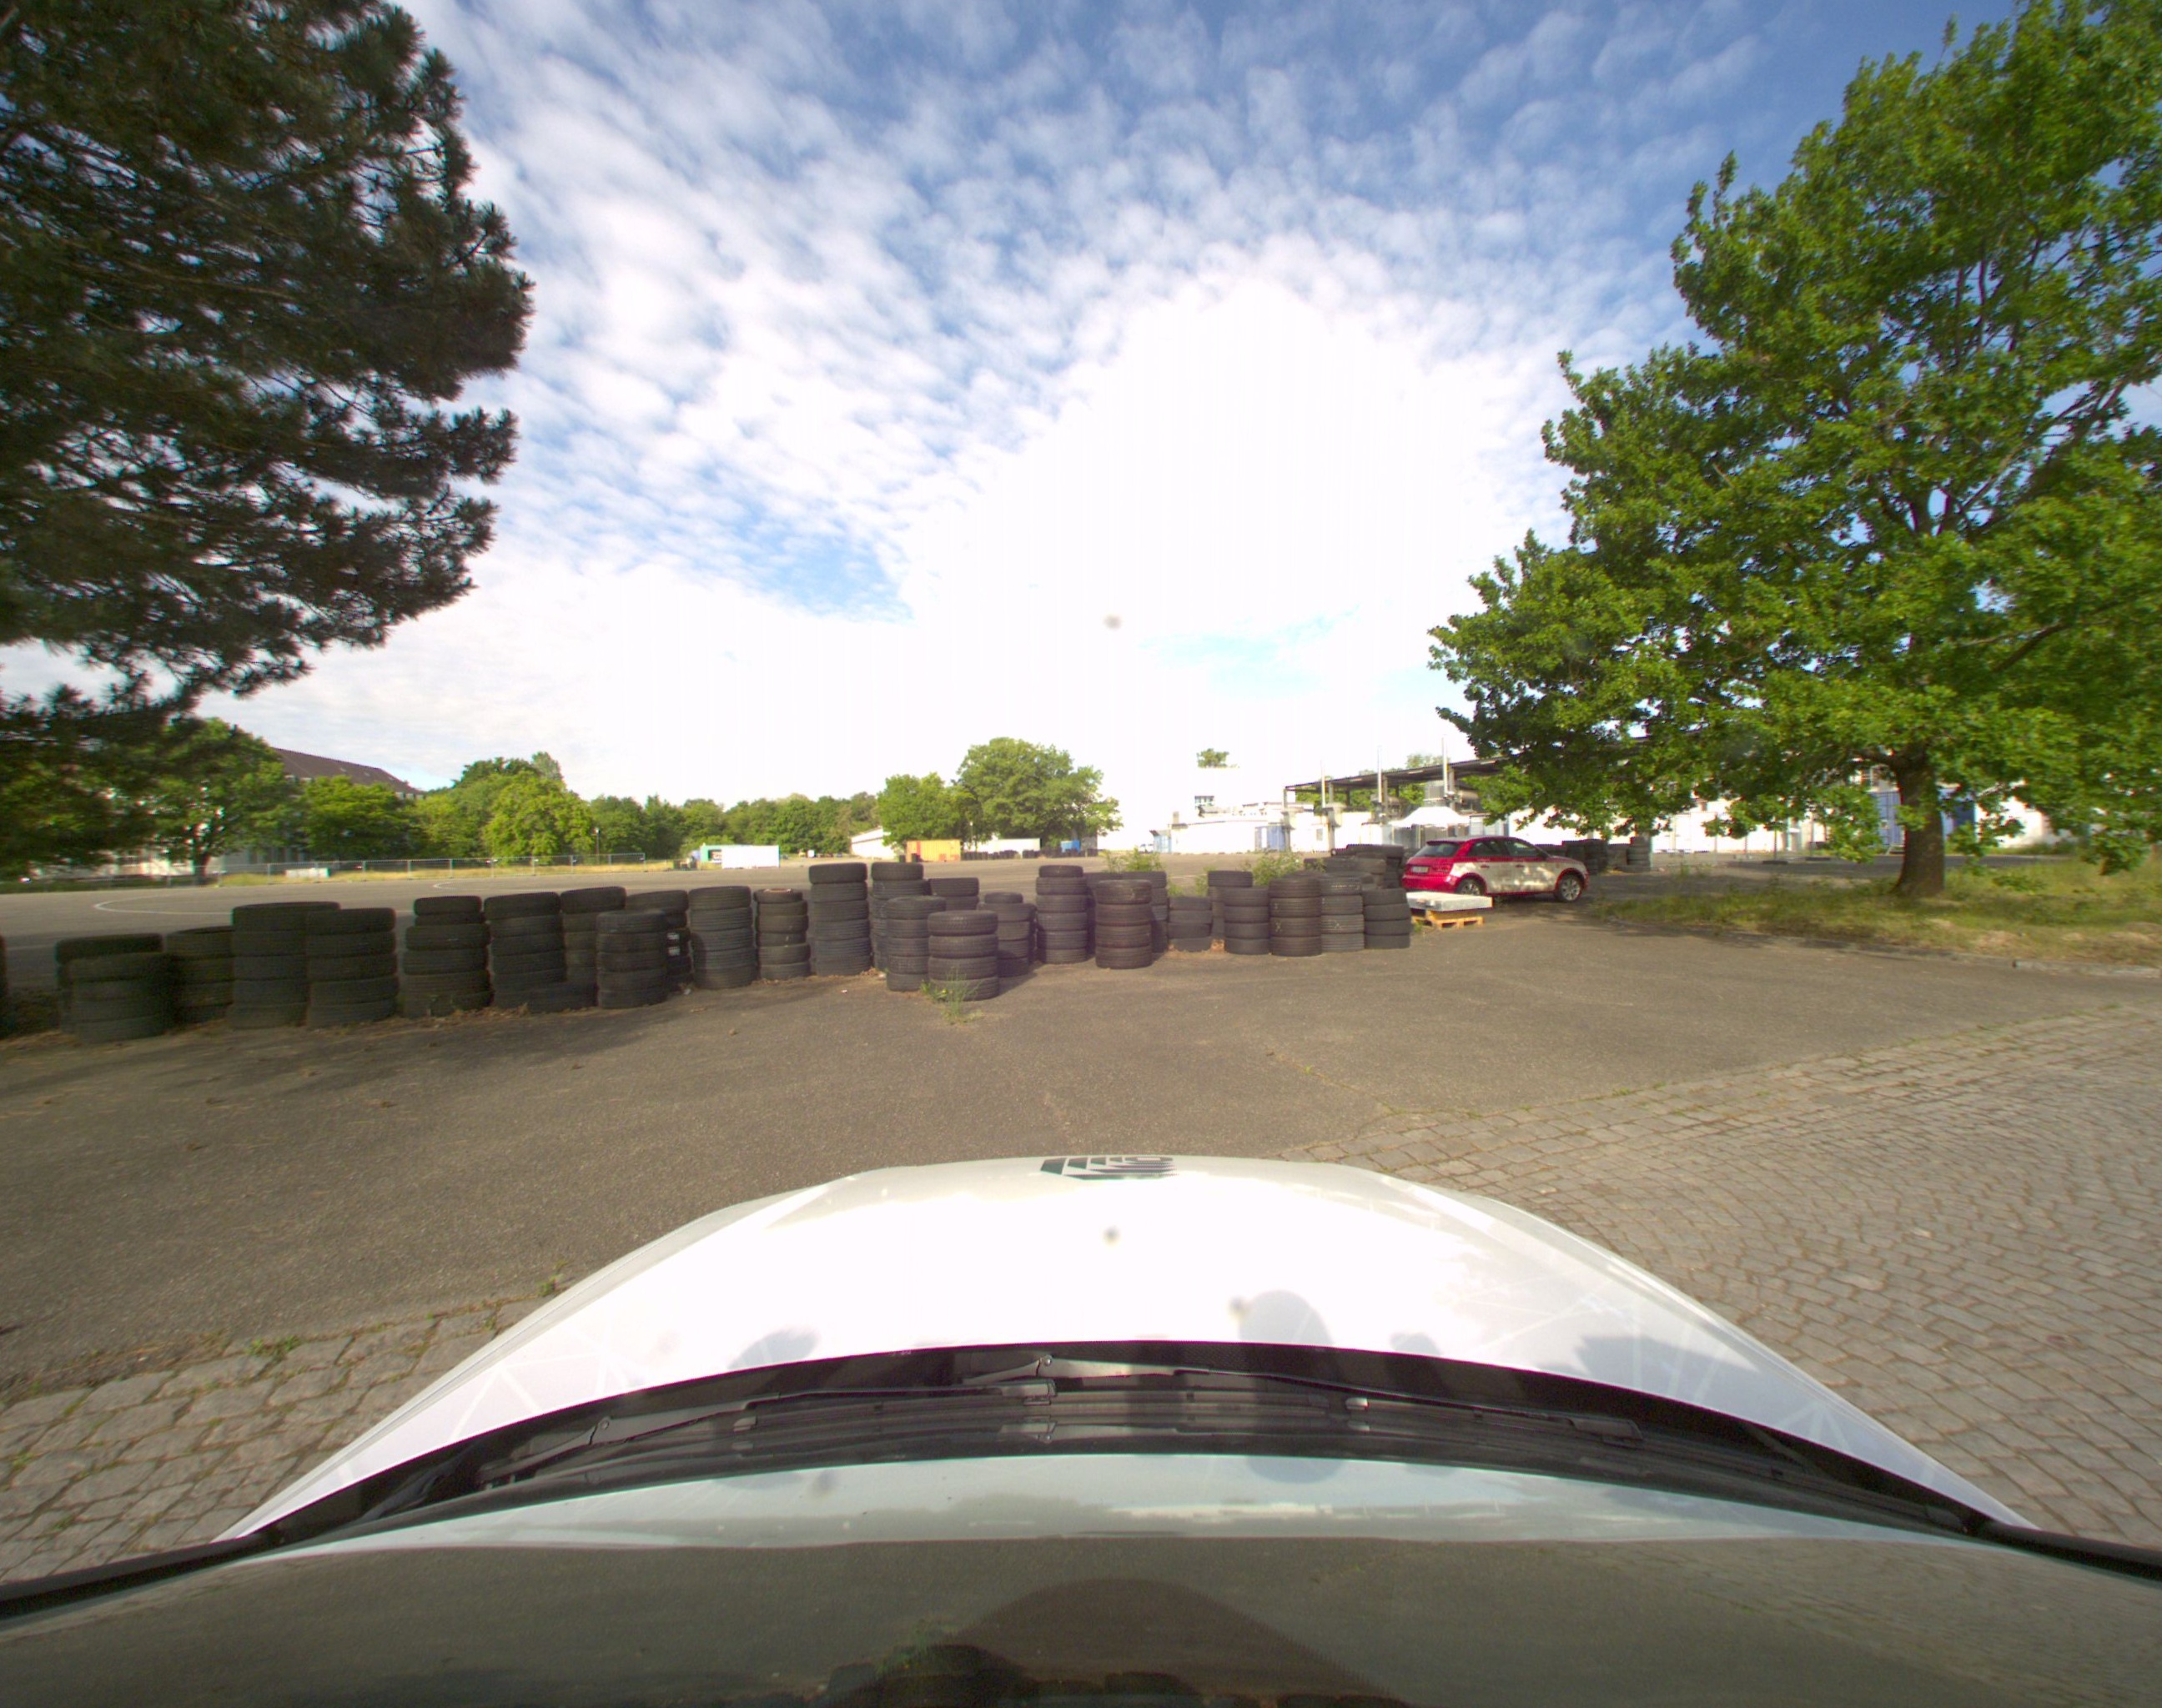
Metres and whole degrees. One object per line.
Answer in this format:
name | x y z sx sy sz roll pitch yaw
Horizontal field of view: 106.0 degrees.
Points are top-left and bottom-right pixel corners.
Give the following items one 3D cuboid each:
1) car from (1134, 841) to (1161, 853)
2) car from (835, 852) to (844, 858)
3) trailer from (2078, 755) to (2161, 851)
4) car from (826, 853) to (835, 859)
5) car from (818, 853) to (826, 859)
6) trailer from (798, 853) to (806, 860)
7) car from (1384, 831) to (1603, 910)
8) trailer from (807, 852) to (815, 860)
car | 9.247 -0.951 112.942 1.876 1.564 4.515 -2 1 -22
car | -70.580 0.348 237.724 2.002 1.750 3.970 -2 1 -22
trailer | 44.003 -2.027 31.906 9.896 3.471 2.909 -2 1 -18
car | -72.961 0.532 236.829 2.040 1.808 3.970 -2 1 -22
car | -75.030 0.640 235.855 2.002 1.750 3.970 -2 1 -22
trailer | -81.038 0.643 236.765 2.001 2.013 3.971 -2 1 -21
car | 8.706 0.304 17.290 3.992 1.464 1.720 -2 1 -14
trailer | -78.275 0.605 236.381 2.066 2.013 3.972 -2 1 -21
